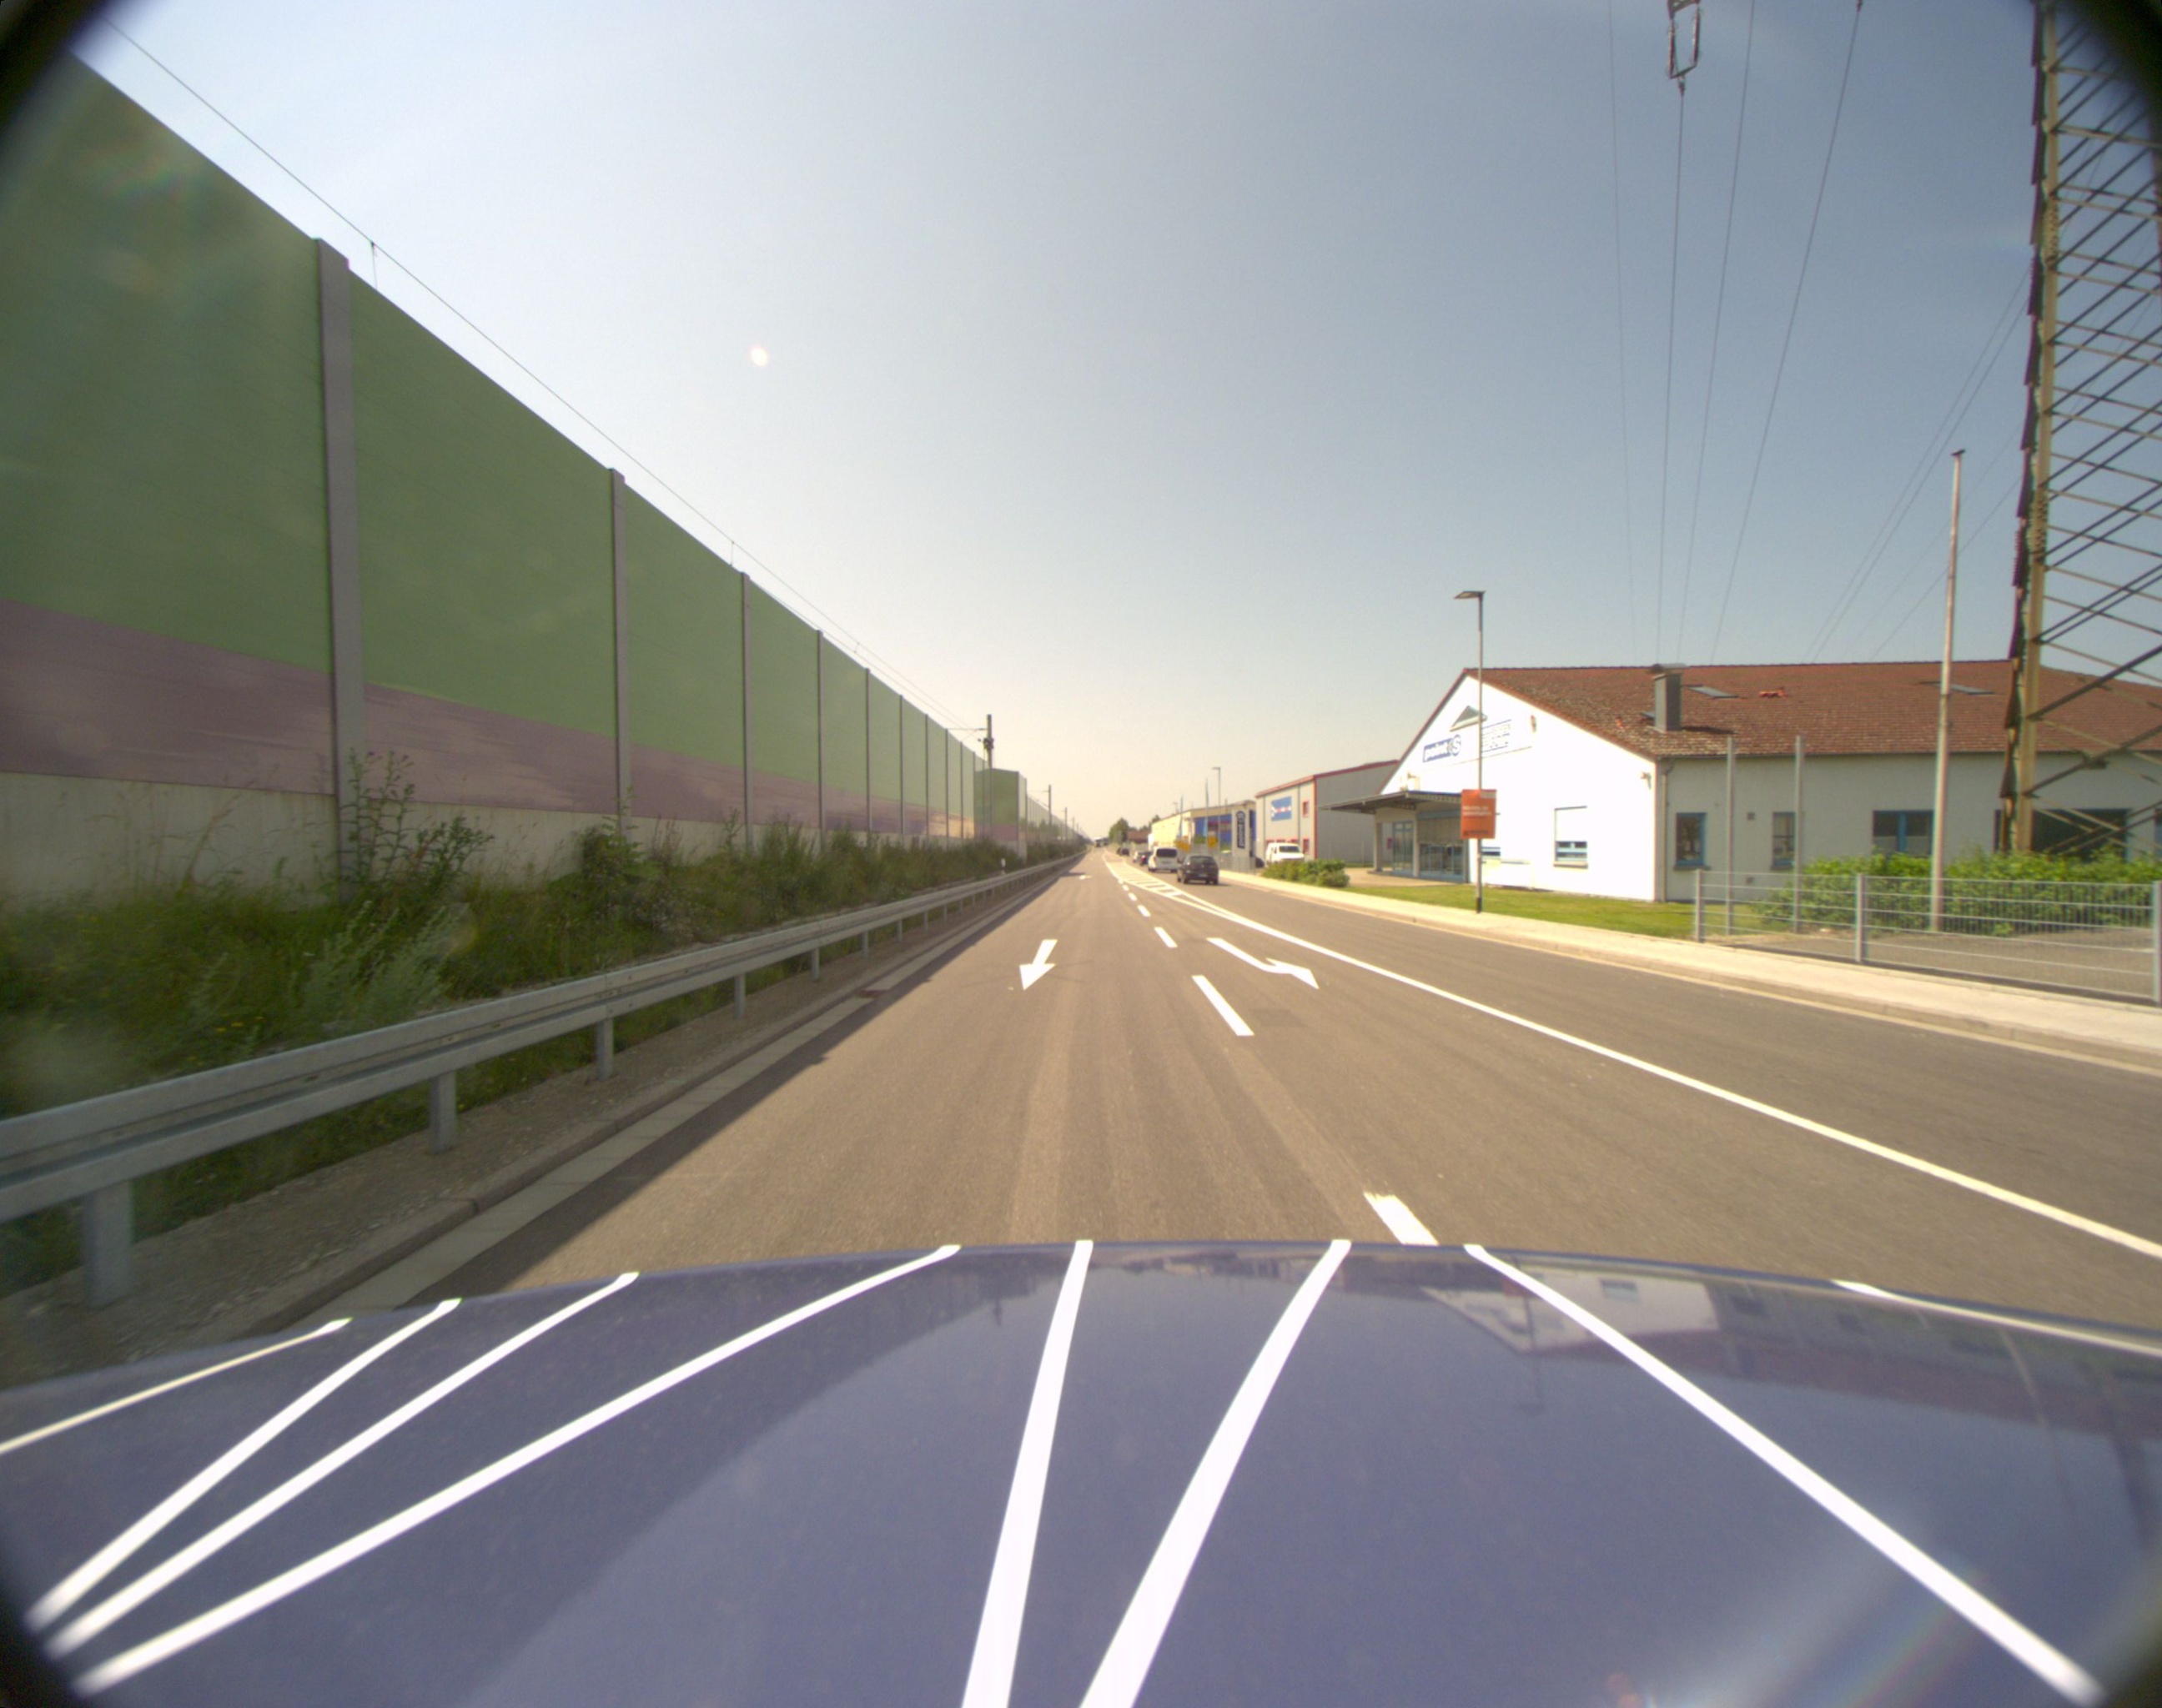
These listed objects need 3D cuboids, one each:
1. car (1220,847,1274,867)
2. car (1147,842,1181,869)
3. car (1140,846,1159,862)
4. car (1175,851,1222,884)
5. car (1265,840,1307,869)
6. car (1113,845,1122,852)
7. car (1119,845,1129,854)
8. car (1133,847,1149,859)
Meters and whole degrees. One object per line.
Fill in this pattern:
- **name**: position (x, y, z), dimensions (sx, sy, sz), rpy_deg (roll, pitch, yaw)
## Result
- **car**: position (13.313, 0.232, 60.909), dimensions (4.005, 1.485, 1.740), rpy_deg (-1, 1, -24)
- **car**: position (6.044, 0.054, 55.833), dimensions (1.998, 1.863, 5.168), rpy_deg (1, 1, 0)
- **car**: position (6.972, -0.029, 77.671), dimensions (1.672, 1.591, 3.972), rpy_deg (1, 1, 1)
- **car**: position (5.661, 0.613, 36.980), dimensions (1.675, 1.415, 4.000), rpy_deg (1, 1, 1)
- **car**: position (14.892, -0.029, 55.471), dimensions (1.998, 2.002, 4.680), rpy_deg (0, 1, 2)
- **car**: position (8.319, -1.189, 173.696), dimensions (1.746, 1.584, 3.796), rpy_deg (1, 1, 1)
- **car**: position (8.419, -0.918, 150.477), dimensions (1.885, 1.607, 4.523), rpy_deg (2, 1, 3)
- **car**: position (7.575, -0.123, 96.381), dimensions (1.768, 1.457, 4.259), rpy_deg (1, 1, 2)
